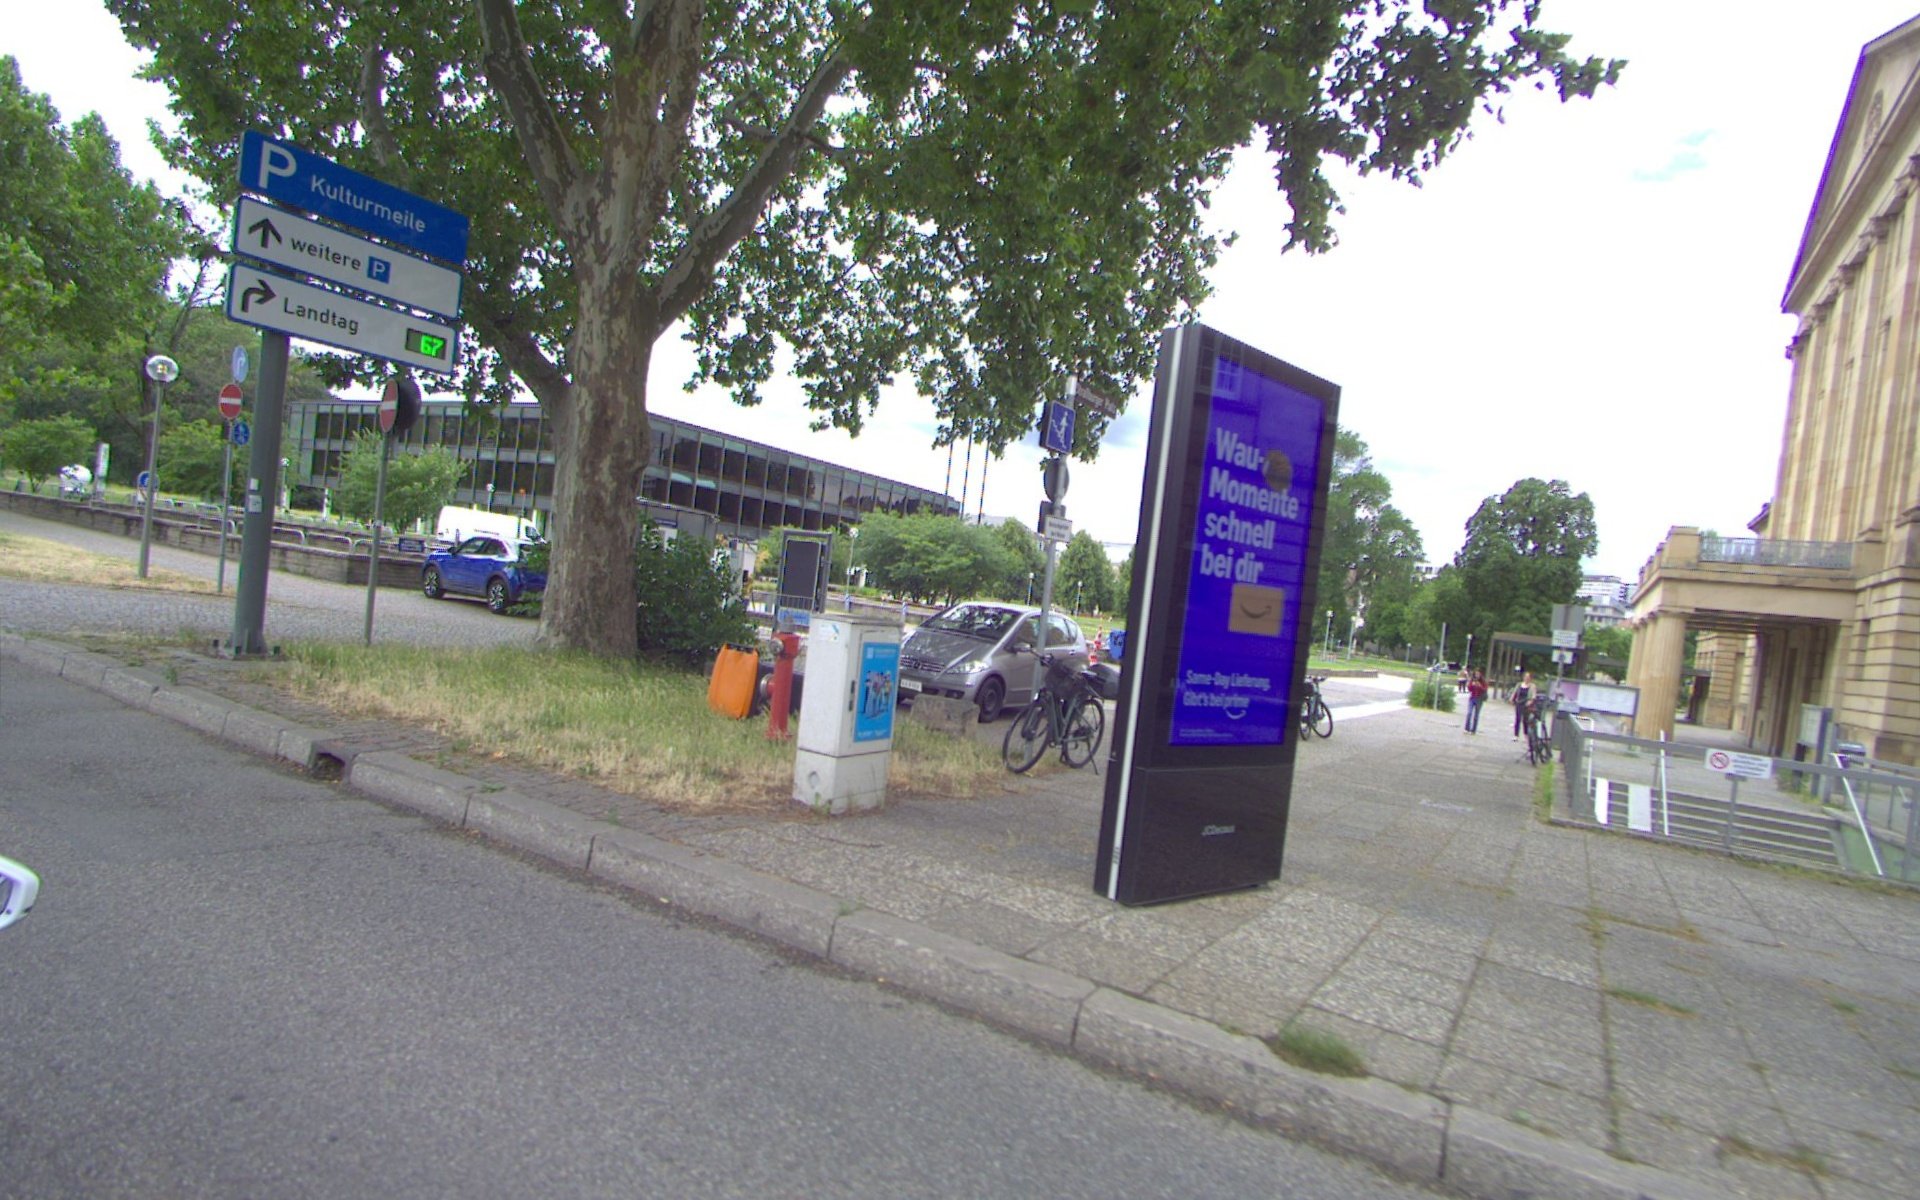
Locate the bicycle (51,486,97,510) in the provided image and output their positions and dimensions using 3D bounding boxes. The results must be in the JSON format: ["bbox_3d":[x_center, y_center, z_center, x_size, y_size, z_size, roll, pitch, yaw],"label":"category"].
[{"bbox_3d":[-46.378,-5.344,52.647,2.741,0.986,0.956,7,-2,32],"label":"bicycle"}]

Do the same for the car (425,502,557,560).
[{"bbox_3d":[-25.738,-3.748,55.467,2.362,2.288,6.112,7,0,33],"label":"car"}]

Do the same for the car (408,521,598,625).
[{"bbox_3d":[-9.732,-0.585,21.340,3.961,1.572,1.761,10,2,34],"label":"car"}]

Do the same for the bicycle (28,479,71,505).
[{"bbox_3d":[-46.677,-5.538,51.565,2.297,1.076,0.956,7,-2,31],"label":"bicycle"}]

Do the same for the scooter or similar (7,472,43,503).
[{"bbox_3d":[-42.788,-5.161,46.014,2.190,1.260,0.636,6,-1,34],"label":"scooter or similar"}]

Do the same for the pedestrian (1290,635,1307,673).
[{"bbox_3d":[17.209,2.744,51.142,0.537,1.826,0.500,7,-1,4],"label":"pedestrian"}]

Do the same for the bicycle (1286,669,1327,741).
[{"bbox_3d":[6.182,1.830,17.905,0.435,1.146,1.754,7,1,24],"label":"bicycle"}]

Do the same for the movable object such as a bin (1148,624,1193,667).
[{"bbox_3d":[8.333,1.810,39.824,1.134,1.516,1.409,7,1,34],"label":"movable object such as a bin"}]

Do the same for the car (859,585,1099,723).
[{"bbox_3d":[0.415,0.806,14.696,1.651,1.587,3.840,7,0,31],"label":"car"}]

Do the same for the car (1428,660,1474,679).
[{"bbox_3d":[63.154,8.921,129.420,4.835,1.759,2.074,6,-2,35],"label":"car"}]

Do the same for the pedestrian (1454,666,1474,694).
[{"bbox_3d":[34.630,5.477,69.096,0.929,1.826,0.546,7,-1,4],"label":"pedestrian"}]

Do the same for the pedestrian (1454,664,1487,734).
[{"bbox_3d":[13.137,2.528,25.885,0.559,1.716,0.430,8,2,30],"label":"pedestrian"}]

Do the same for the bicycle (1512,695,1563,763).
[{"bbox_3d":[10.452,2.318,18.179,0.420,1.114,2.166,7,-1,37],"label":"bicycle"}]

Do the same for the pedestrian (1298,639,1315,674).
[{"bbox_3d":[17.401,2.837,50.505,0.537,1.683,0.500,7,-1,4],"label":"pedestrian"}]

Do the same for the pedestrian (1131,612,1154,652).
[{"bbox_3d":[9.980,1.759,55.115,0.799,2.037,0.625,8,-1,-39],"label":"pedestrian"}]

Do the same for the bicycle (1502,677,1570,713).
[{"bbox_3d":[29.422,4.844,51.432,2.849,1.442,0.961,7,-1,28],"label":"bicycle"}]

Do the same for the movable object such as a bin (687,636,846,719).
[{"bbox_3d":[-1.863,0.764,9.785,0.718,0.659,1.298,6,-3,40],"label":"movable object such as a bin"}]

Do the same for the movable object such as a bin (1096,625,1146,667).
[{"bbox_3d":[5.758,1.663,35.968,1.134,1.320,1.409,7,1,34],"label":"movable object such as a bin"}]

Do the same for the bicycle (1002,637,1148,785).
[{"bbox_3d":[1.137,1.037,9.594,0.484,1.236,1.786,8,0,34],"label":"bicycle"}]

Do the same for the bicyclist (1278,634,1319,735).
[{"bbox_3d":[6.139,1.524,18.235,0.466,1.770,0.437,7,1,24],"label":"bicyclist"}]

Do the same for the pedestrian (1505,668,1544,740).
[{"bbox_3d":[14.572,2.666,25.976,0.693,1.744,0.680,8,1,30],"label":"pedestrian"}]
